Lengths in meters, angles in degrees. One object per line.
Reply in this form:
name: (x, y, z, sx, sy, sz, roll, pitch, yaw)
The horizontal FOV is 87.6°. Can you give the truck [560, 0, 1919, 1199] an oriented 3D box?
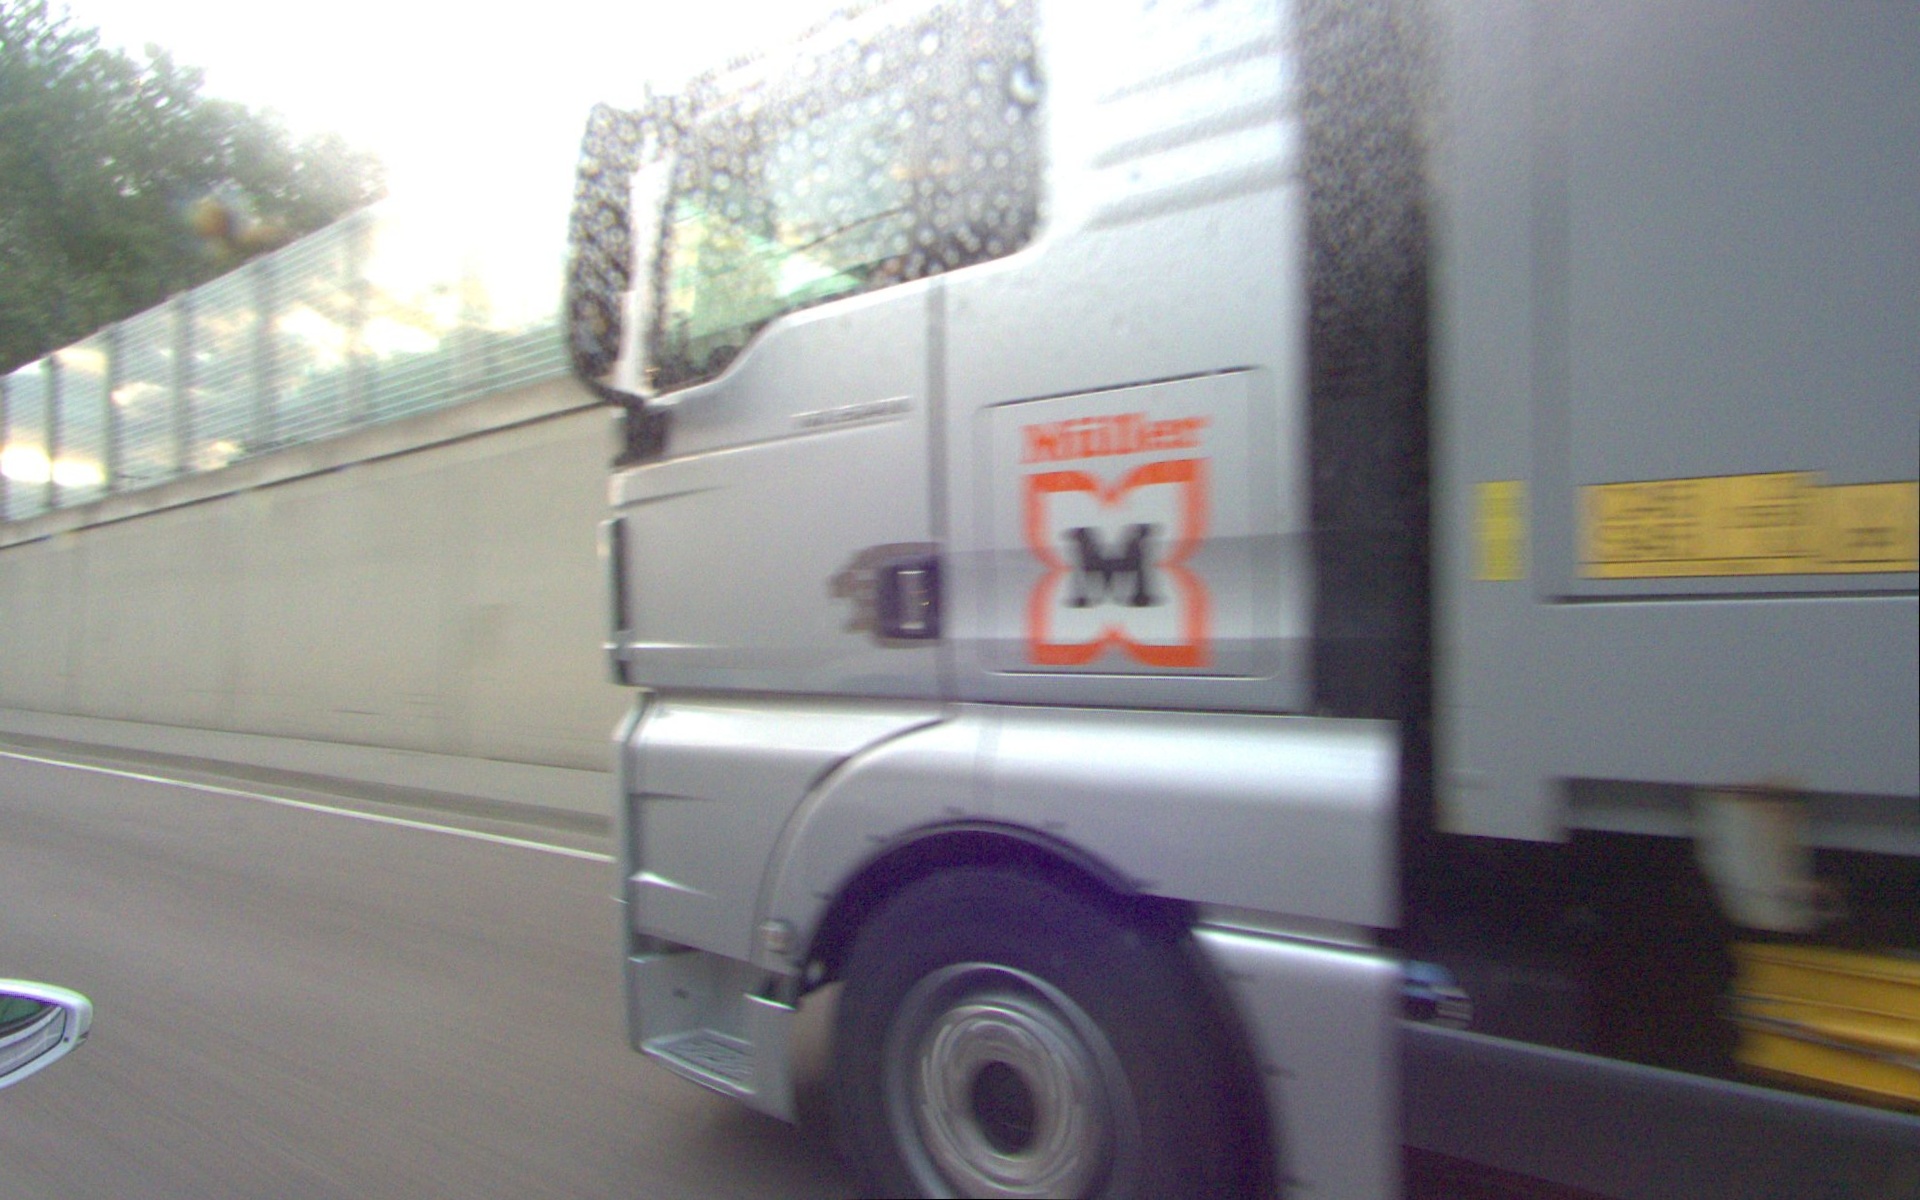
truck: (3.777, -0.554, 1.245, 9.770, 3.964, 2.883, -1, -2, 33)
